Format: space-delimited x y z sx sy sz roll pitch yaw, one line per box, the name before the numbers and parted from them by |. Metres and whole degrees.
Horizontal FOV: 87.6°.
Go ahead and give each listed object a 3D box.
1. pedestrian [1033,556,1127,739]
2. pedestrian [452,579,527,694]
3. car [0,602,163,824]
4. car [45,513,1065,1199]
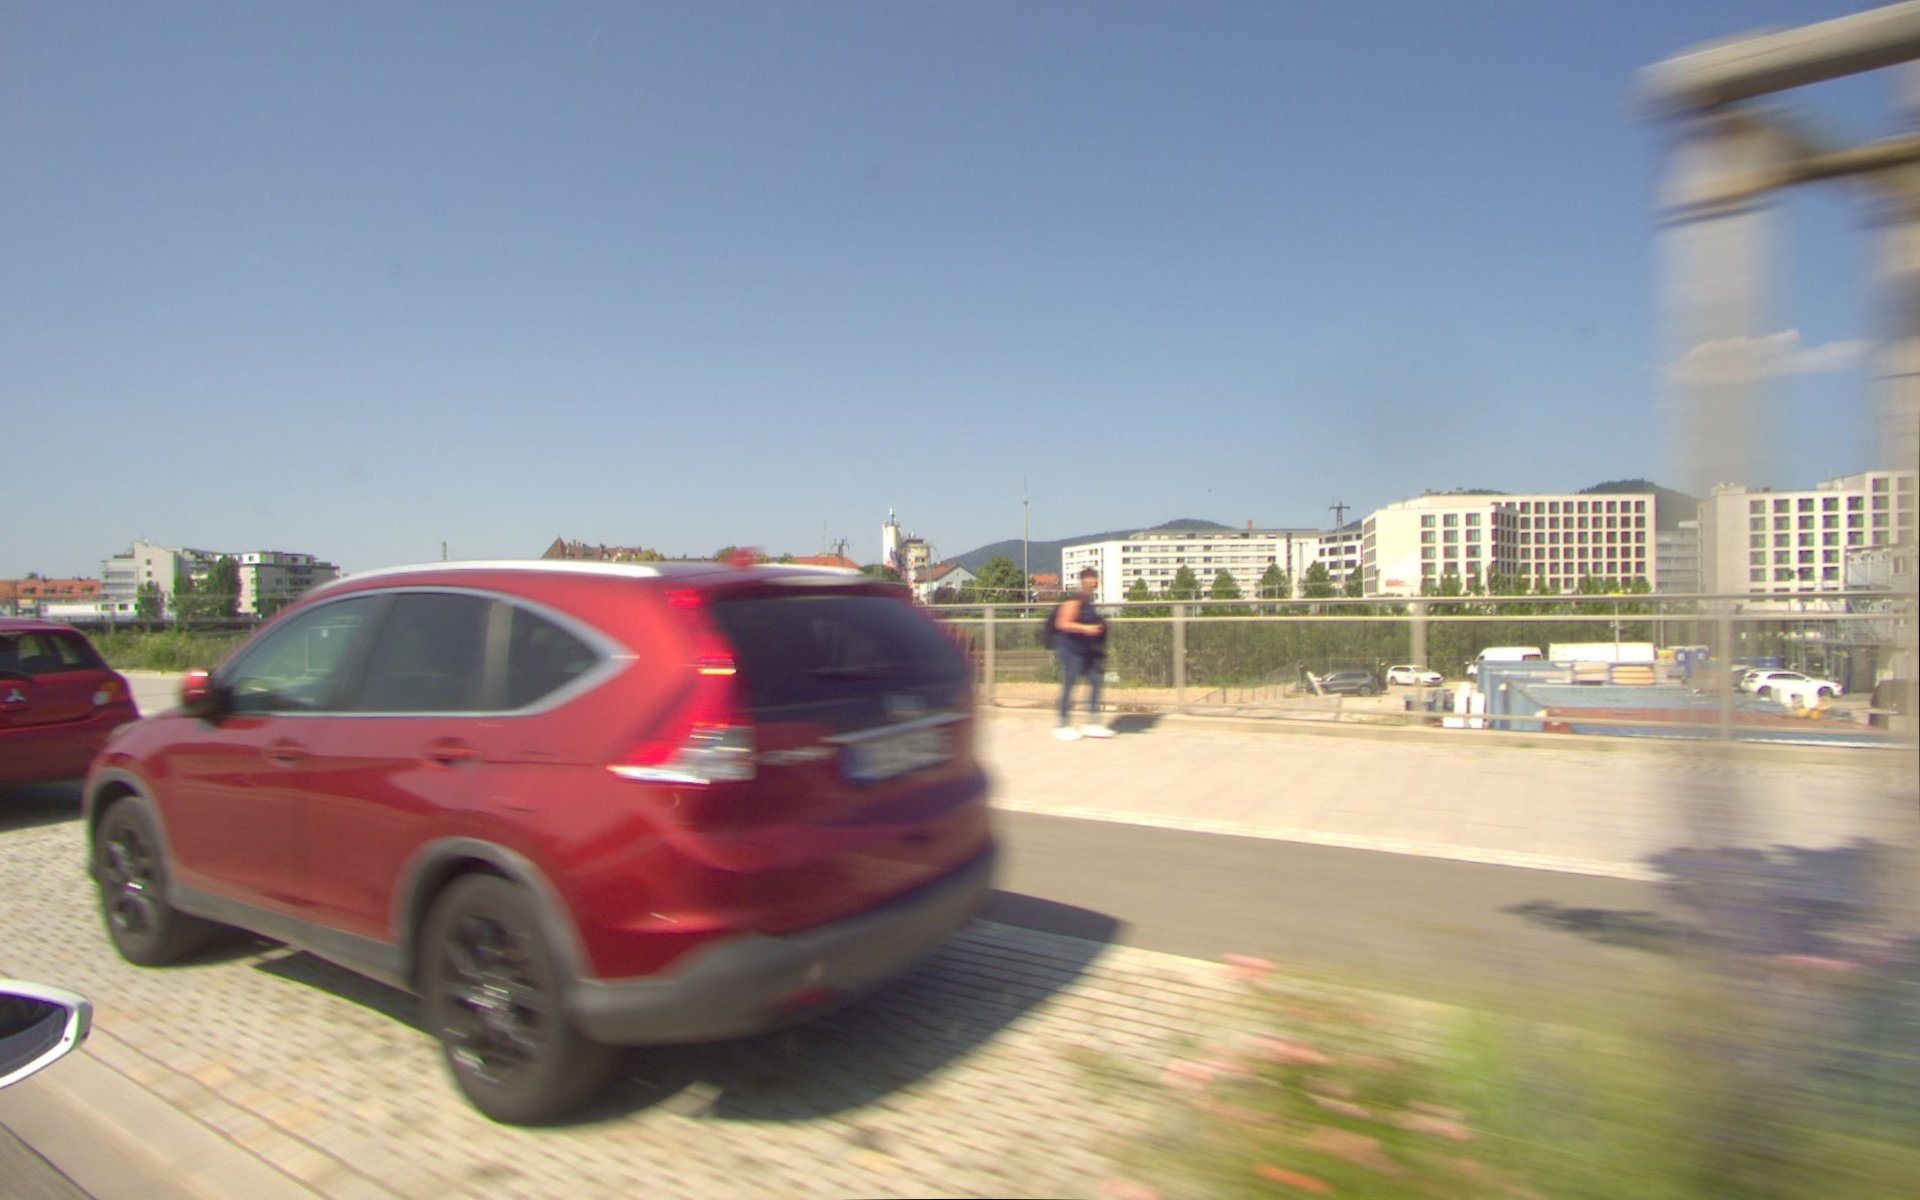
pedestrian | 1.196 0.470 9.932 0.642 1.726 0.730 -2 -2 33
pedestrian | -7.266 0.569 15.476 0.731 1.727 0.779 -2 -2 33
car | -8.199 0.815 7.958 3.761 1.512 1.601 -1 1 30
car | -1.973 0.633 4.332 4.484 1.638 1.904 0 0 34
